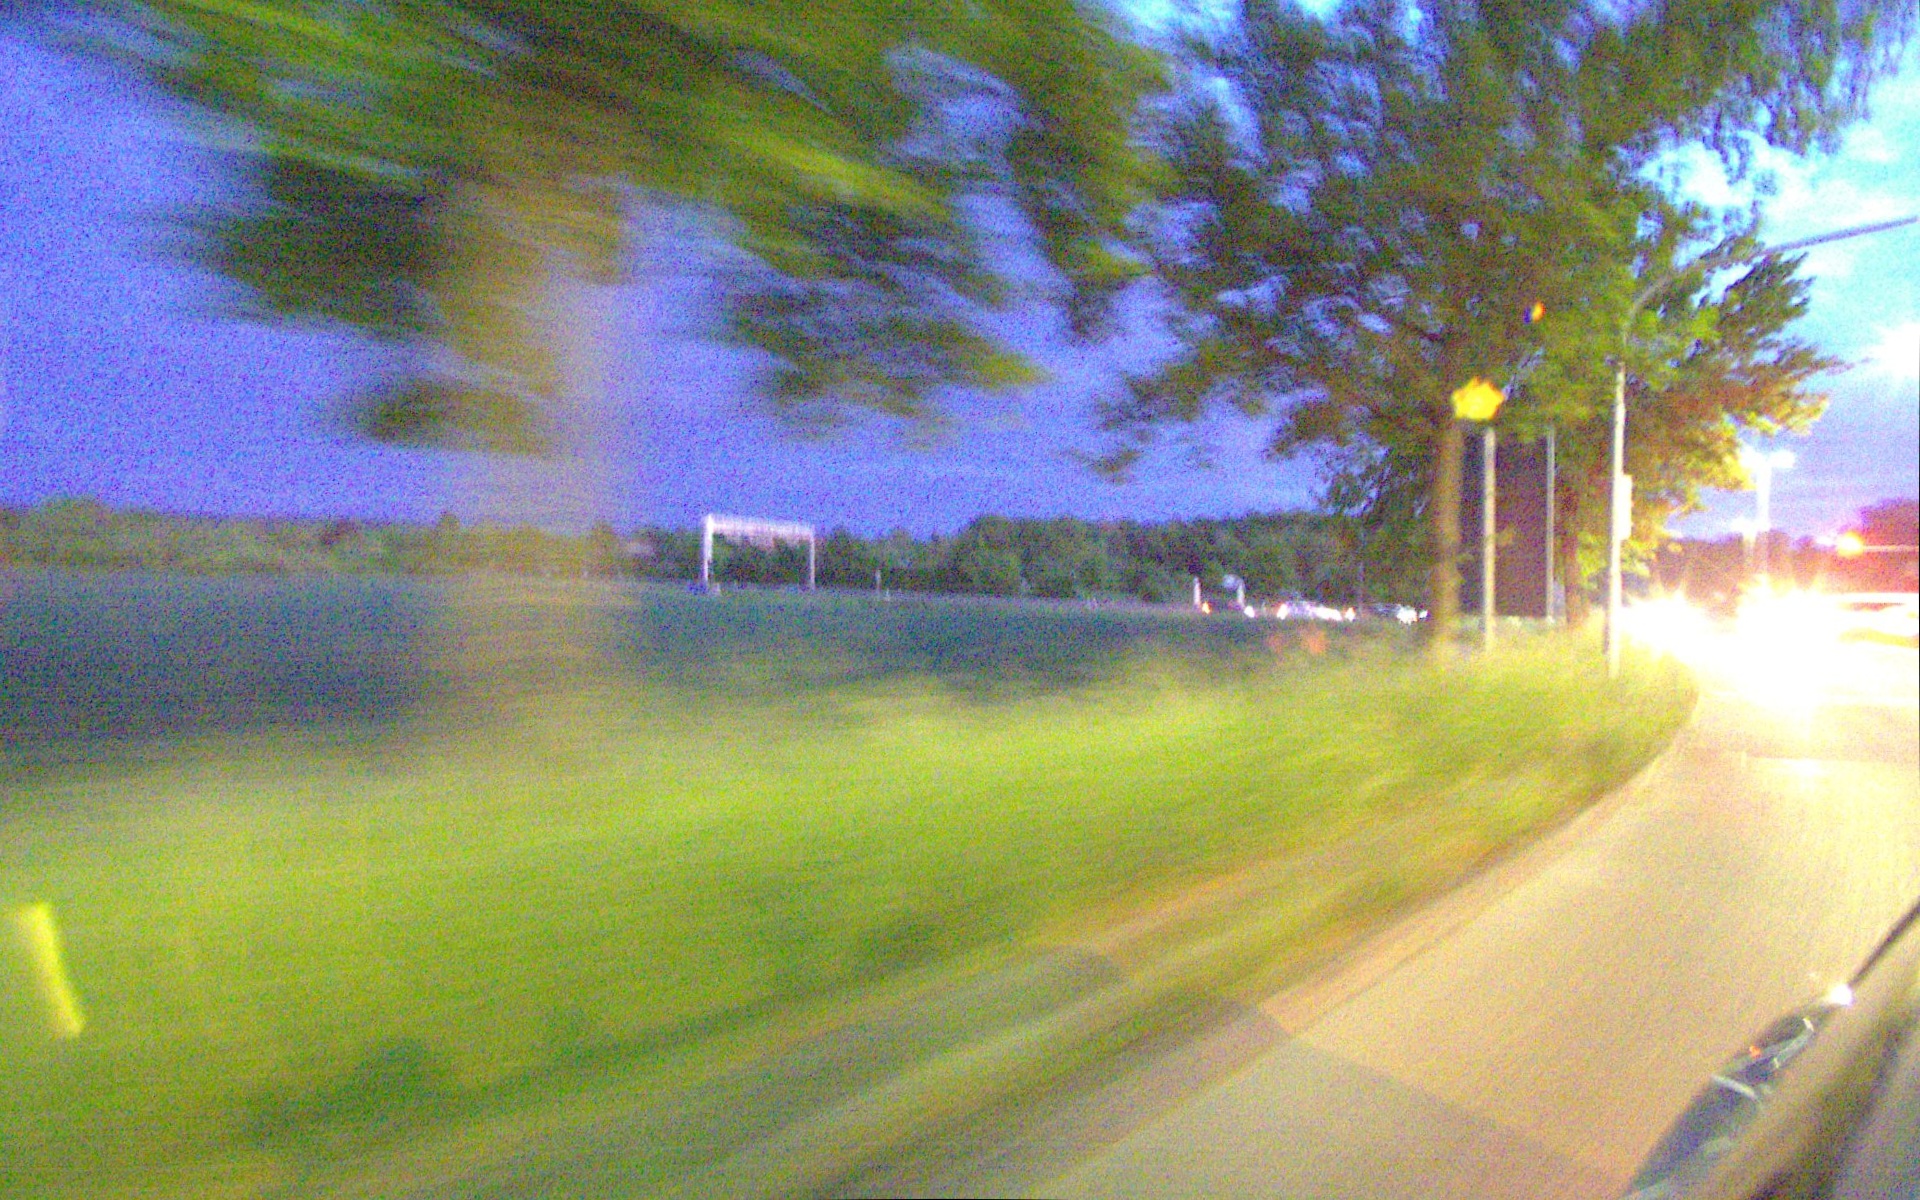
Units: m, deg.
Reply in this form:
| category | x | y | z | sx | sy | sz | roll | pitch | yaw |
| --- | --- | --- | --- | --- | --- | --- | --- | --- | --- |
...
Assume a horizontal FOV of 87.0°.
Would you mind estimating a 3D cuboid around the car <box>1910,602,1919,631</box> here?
| category | x | y | z | sx | sy | sz | roll | pitch | yaw |
| --- | --- | --- | --- | --- | --- | --- | --- | --- | --- |
| car | 47.937 | 0.793 | 49.108 | 1.863 | 1.416 | 4.780 | 1 | -1 | 33 |

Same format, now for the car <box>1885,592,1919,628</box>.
| category | x | y | z | sx | sy | sz | roll | pitch | yaw |
| --- | --- | --- | --- | --- | --- | --- | --- | --- | --- |
| car | 52.267 | 0.593 | 55.306 | 1.837 | 1.837 | 4.715 | 1 | -1 | 34 |

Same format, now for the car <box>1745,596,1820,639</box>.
| category | x | y | z | sx | sy | sz | roll | pitch | yaw |
| --- | --- | --- | --- | --- | --- | --- | --- | --- | --- |
| car | 33.958 | 0.703 | 41.906 | 1.657 | 1.674 | 4.364 | 0 | -1 | 29 |

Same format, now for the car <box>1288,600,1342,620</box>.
| category | x | y | z | sx | sy | sz | roll | pitch | yaw |
| --- | --- | --- | --- | --- | --- | --- | --- | --- | --- |
| car | 32.062 | 0.900 | 91.435 | 4.337 | 1.647 | 1.728 | 2 | -1 | 37 |

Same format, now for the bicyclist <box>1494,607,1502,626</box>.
| category | x | y | z | sx | sy | sz | roll | pitch | yaw |
| --- | --- | --- | --- | --- | --- | --- | --- | --- | --- |
| bicyclist | 48.139 | 1.515 | 90.591 | 0.599 | 1.672 | 0.989 | 1 | -2 | 30 |

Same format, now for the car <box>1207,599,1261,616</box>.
| category | x | y | z | sx | sy | sz | roll | pitch | yaw |
| --- | --- | --- | --- | --- | --- | --- | --- | --- | --- |
| car | 24.815 | 0.713 | 91.551 | 4.370 | 1.407 | 1.814 | 1 | 0 | 36 |

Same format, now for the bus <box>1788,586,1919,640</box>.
| category | x | y | z | sx | sy | sz | roll | pitch | yaw |
| --- | --- | --- | --- | --- | --- | --- | --- | --- | --- |
| bus | 69.886 | 1.007 | 75.619 | 12.143 | 3.839 | 2.593 | 1 | -2 | 25 |

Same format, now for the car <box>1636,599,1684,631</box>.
| category | x | y | z | sx | sy | sz | roll | pitch | yaw |
| --- | --- | --- | --- | --- | --- | --- | --- | --- | --- |
| car | 35.543 | 0.737 | 51.446 | 1.657 | 1.499 | 3.737 | 0 | 1 | 30 |

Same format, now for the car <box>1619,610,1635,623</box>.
| category | x | y | z | sx | sy | sz | roll | pitch | yaw |
| --- | --- | --- | --- | --- | --- | --- | --- | --- | --- |
| car | 85.431 | 2.126 | 129.660 | 1.687 | 1.617 | 3.876 | 0 | -2 | 34 |

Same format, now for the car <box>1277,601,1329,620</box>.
| category | x | y | z | sx | sy | sz | roll | pitch | yaw |
| --- | --- | --- | --- | --- | --- | --- | --- | --- | --- |
| car | 29.994 | 0.921 | 88.559 | 3.976 | 1.544 | 1.814 | 2 | 0 | 36 |
